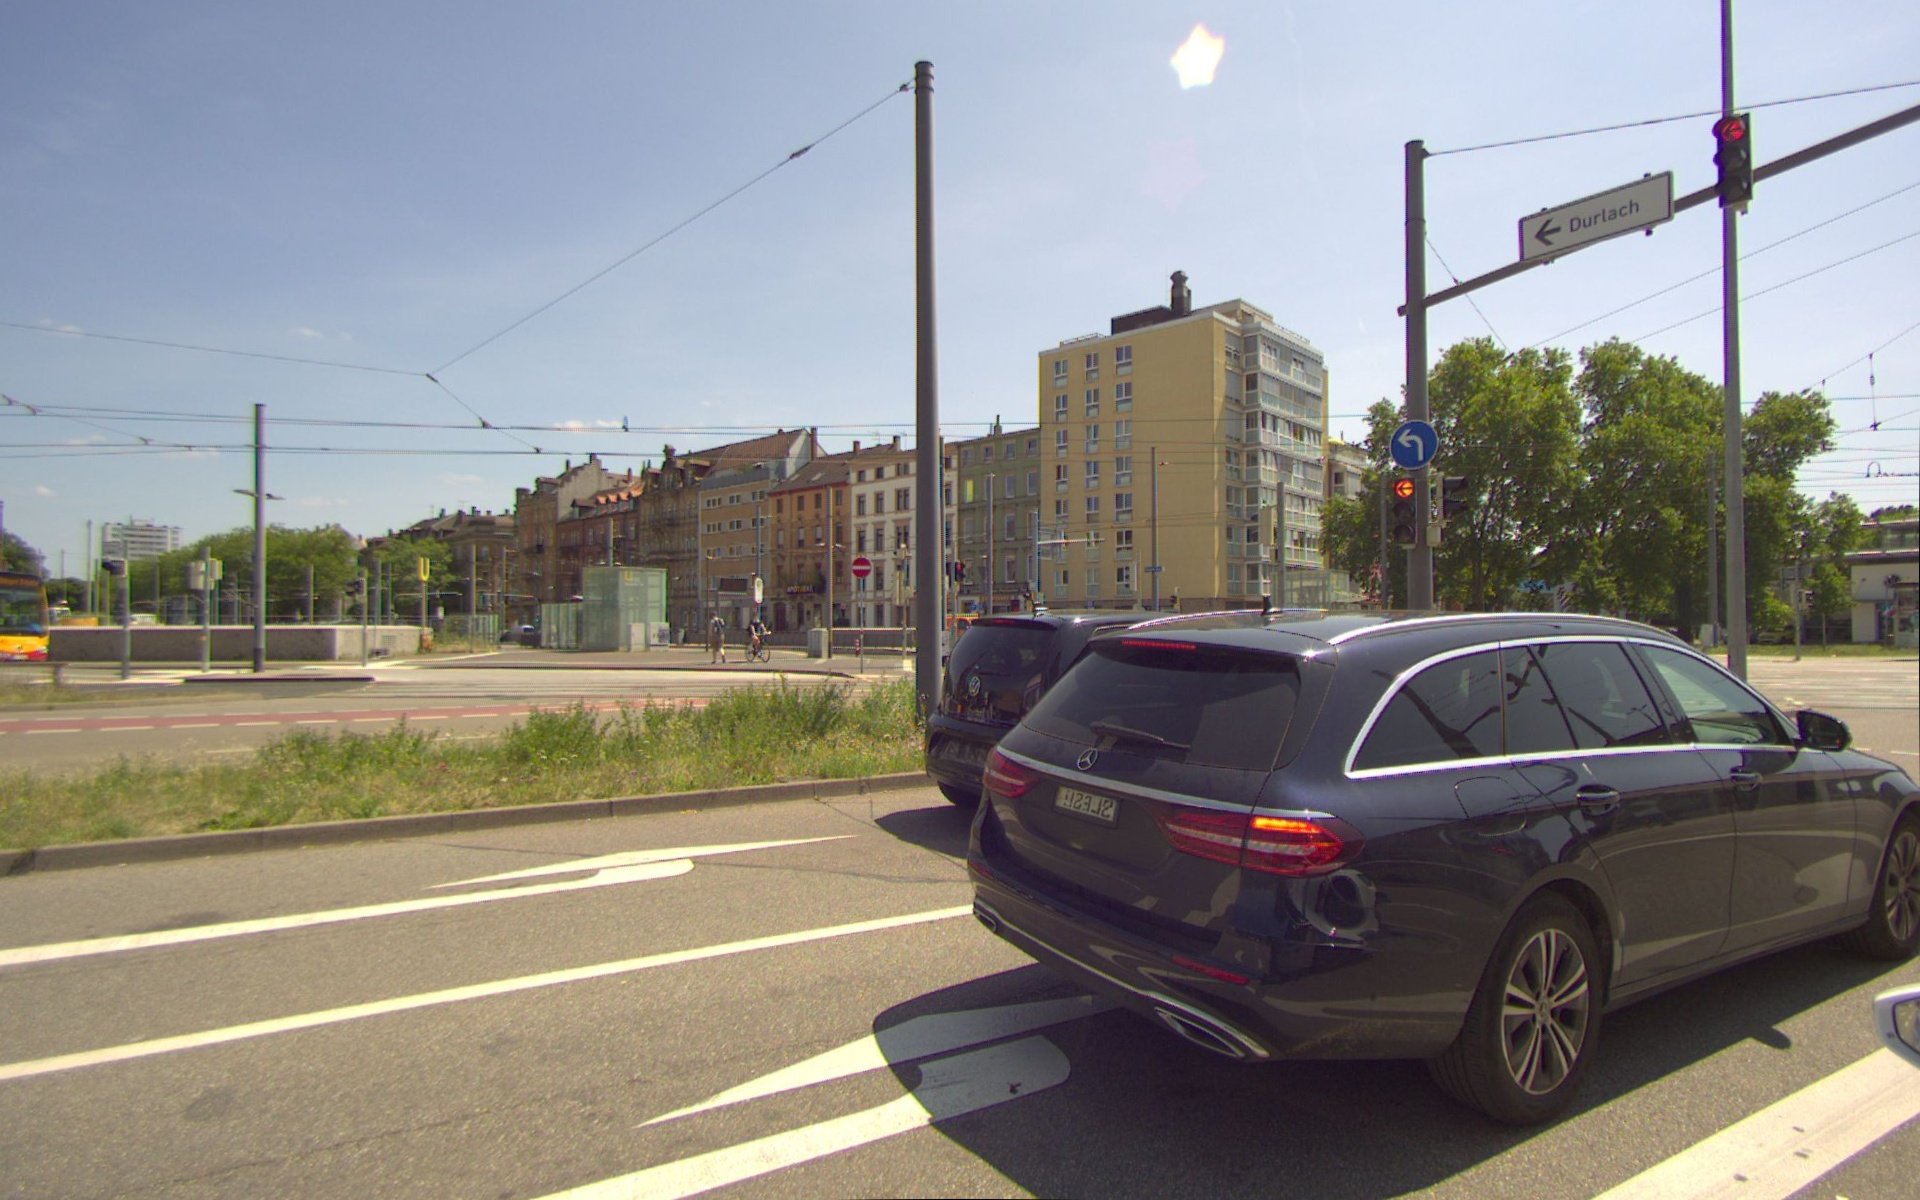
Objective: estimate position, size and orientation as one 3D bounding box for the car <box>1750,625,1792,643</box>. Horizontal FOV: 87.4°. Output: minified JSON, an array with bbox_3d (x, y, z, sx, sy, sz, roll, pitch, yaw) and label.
[{"bbox_3d":[70.275,2.902,87.007,4.284,1.530,1.755,1,-2,-36],"label":"car"}]

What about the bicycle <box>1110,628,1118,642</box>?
[{"bbox_3d":[11.403,2.598,74.545,0.424,1.040,1.445,0,-1,15],"label":"bicycle"}]

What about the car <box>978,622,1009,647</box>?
[{"bbox_3d":[2.385,2.472,72.453,1.803,1.773,3.998,0,-1,-5],"label":"car"}]

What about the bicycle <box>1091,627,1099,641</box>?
[{"bbox_3d":[10.159,2.565,75.570,0.424,1.040,1.445,0,-1,15],"label":"bicycle"}]

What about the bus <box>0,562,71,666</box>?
[{"bbox_3d":[-34.081,0.434,29.972,11.985,3.056,2.856,0,-1,-4],"label":"bus"}]

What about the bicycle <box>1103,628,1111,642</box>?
[{"bbox_3d":[10.957,2.586,74.835,0.424,1.040,1.445,0,-1,15],"label":"bicycle"}]

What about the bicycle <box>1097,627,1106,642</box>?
[{"bbox_3d":[10.592,2.576,75.139,0.424,1.040,1.445,0,-1,15],"label":"bicycle"}]

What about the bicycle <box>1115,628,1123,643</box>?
[{"bbox_3d":[11.724,2.606,74.153,0.424,1.040,1.445,0,-1,15],"label":"bicycle"}]

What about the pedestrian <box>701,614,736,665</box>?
[{"bbox_3d":[-8.829,1.442,36.731,1.114,1.837,0.677,-1,-1,37],"label":"pedestrian"}]

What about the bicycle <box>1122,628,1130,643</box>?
[{"bbox_3d":[12.245,2.620,73.901,0.424,1.040,1.445,0,-1,15],"label":"bicycle"}]

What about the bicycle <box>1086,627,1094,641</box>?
[{"bbox_3d":[9.812,2.556,75.904,0.424,1.040,1.445,0,-1,15],"label":"bicycle"}]

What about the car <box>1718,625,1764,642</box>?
[{"bbox_3d":[69.494,2.964,89.329,4.275,1.530,1.759,1,-2,-30],"label":"car"}]

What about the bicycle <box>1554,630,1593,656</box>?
[{"bbox_3d":[29.658,2.080,48.535,1.489,1.233,0.713,-1,-2,43],"label":"bicycle"}]

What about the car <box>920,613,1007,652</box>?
[{"bbox_3d":[0.158,1.804,55.585,4.802,2.084,1.989,-1,-2,43],"label":"car"}]

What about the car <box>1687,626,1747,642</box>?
[{"bbox_3d":[71.958,3.197,95.575,4.245,1.530,1.771,-1,-1,25],"label":"car"}]

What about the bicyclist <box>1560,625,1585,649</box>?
[{"bbox_3d":[29.632,1.771,48.563,0.915,1.157,0.713,-1,-2,43],"label":"bicyclist"}]

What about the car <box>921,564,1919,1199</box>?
[{"bbox_3d":[2.344,0.779,4.254,4.748,1.662,1.789,1,0,-30],"label":"car"}]

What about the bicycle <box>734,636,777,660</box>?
[{"bbox_3d":[-7.736,1.808,37.961,1.872,0.866,0.625,-1,-2,41],"label":"bicycle"}]

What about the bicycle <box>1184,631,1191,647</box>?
[{"bbox_3d":[15.894,2.713,70.200,0.424,1.040,1.445,0,-1,15],"label":"bicycle"}]

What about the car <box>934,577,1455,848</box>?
[{"bbox_3d":[1.826,0.704,7.623,3.694,1.597,1.735,1,-2,-30],"label":"car"}]

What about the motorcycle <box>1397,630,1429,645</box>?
[{"bbox_3d":[29.458,2.428,65.348,1.886,0.974,0.525,-1,-1,30],"label":"motorcycle"}]

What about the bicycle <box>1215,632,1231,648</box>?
[{"bbox_3d":[18.311,2.785,69.965,0.427,1.040,1.436,-1,-2,43],"label":"bicycle"}]

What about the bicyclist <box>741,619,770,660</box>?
[{"bbox_3d":[-7.716,1.481,37.953,1.236,1.549,0.436,-1,-2,43],"label":"bicyclist"}]

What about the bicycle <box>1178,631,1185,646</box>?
[{"bbox_3d":[15.521,2.703,70.460,0.424,1.040,1.445,0,-1,15],"label":"bicycle"}]
